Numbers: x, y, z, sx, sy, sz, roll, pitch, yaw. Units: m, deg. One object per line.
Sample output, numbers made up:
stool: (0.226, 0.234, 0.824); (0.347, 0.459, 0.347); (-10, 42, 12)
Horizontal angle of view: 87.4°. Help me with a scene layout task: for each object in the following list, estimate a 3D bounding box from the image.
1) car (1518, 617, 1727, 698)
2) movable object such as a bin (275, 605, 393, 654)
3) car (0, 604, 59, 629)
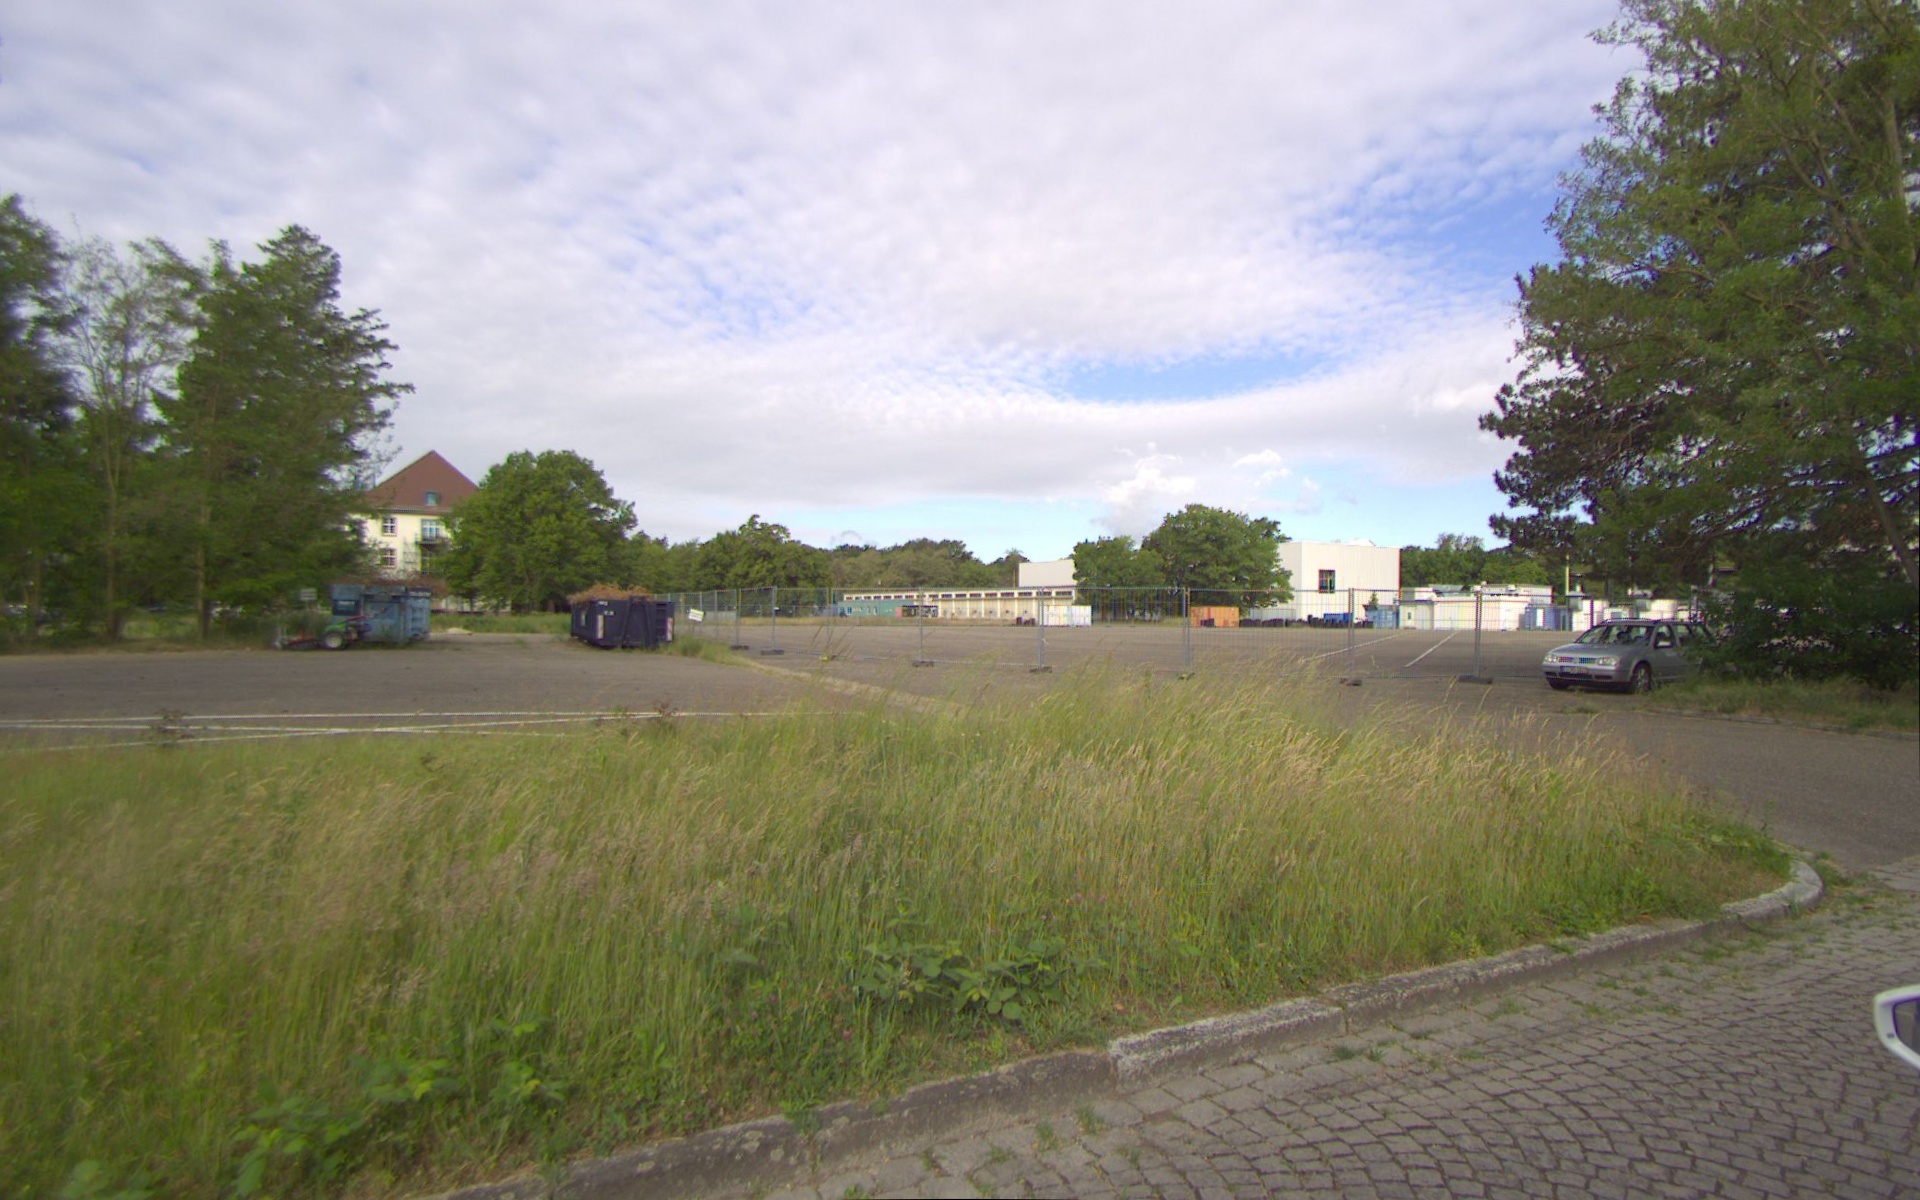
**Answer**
car: (13.757, 1.124, 20.807); (4.317, 1.496, 1.910); (1, 0, -30)
movable object such as a bin: (-16.316, 0.759, 26.288); (2.507, 1.228, 1.162); (1, 0, -28)
car: (-61.326, 1.062, 65.224); (3.743, 1.646, 1.987); (1, -1, -25)
